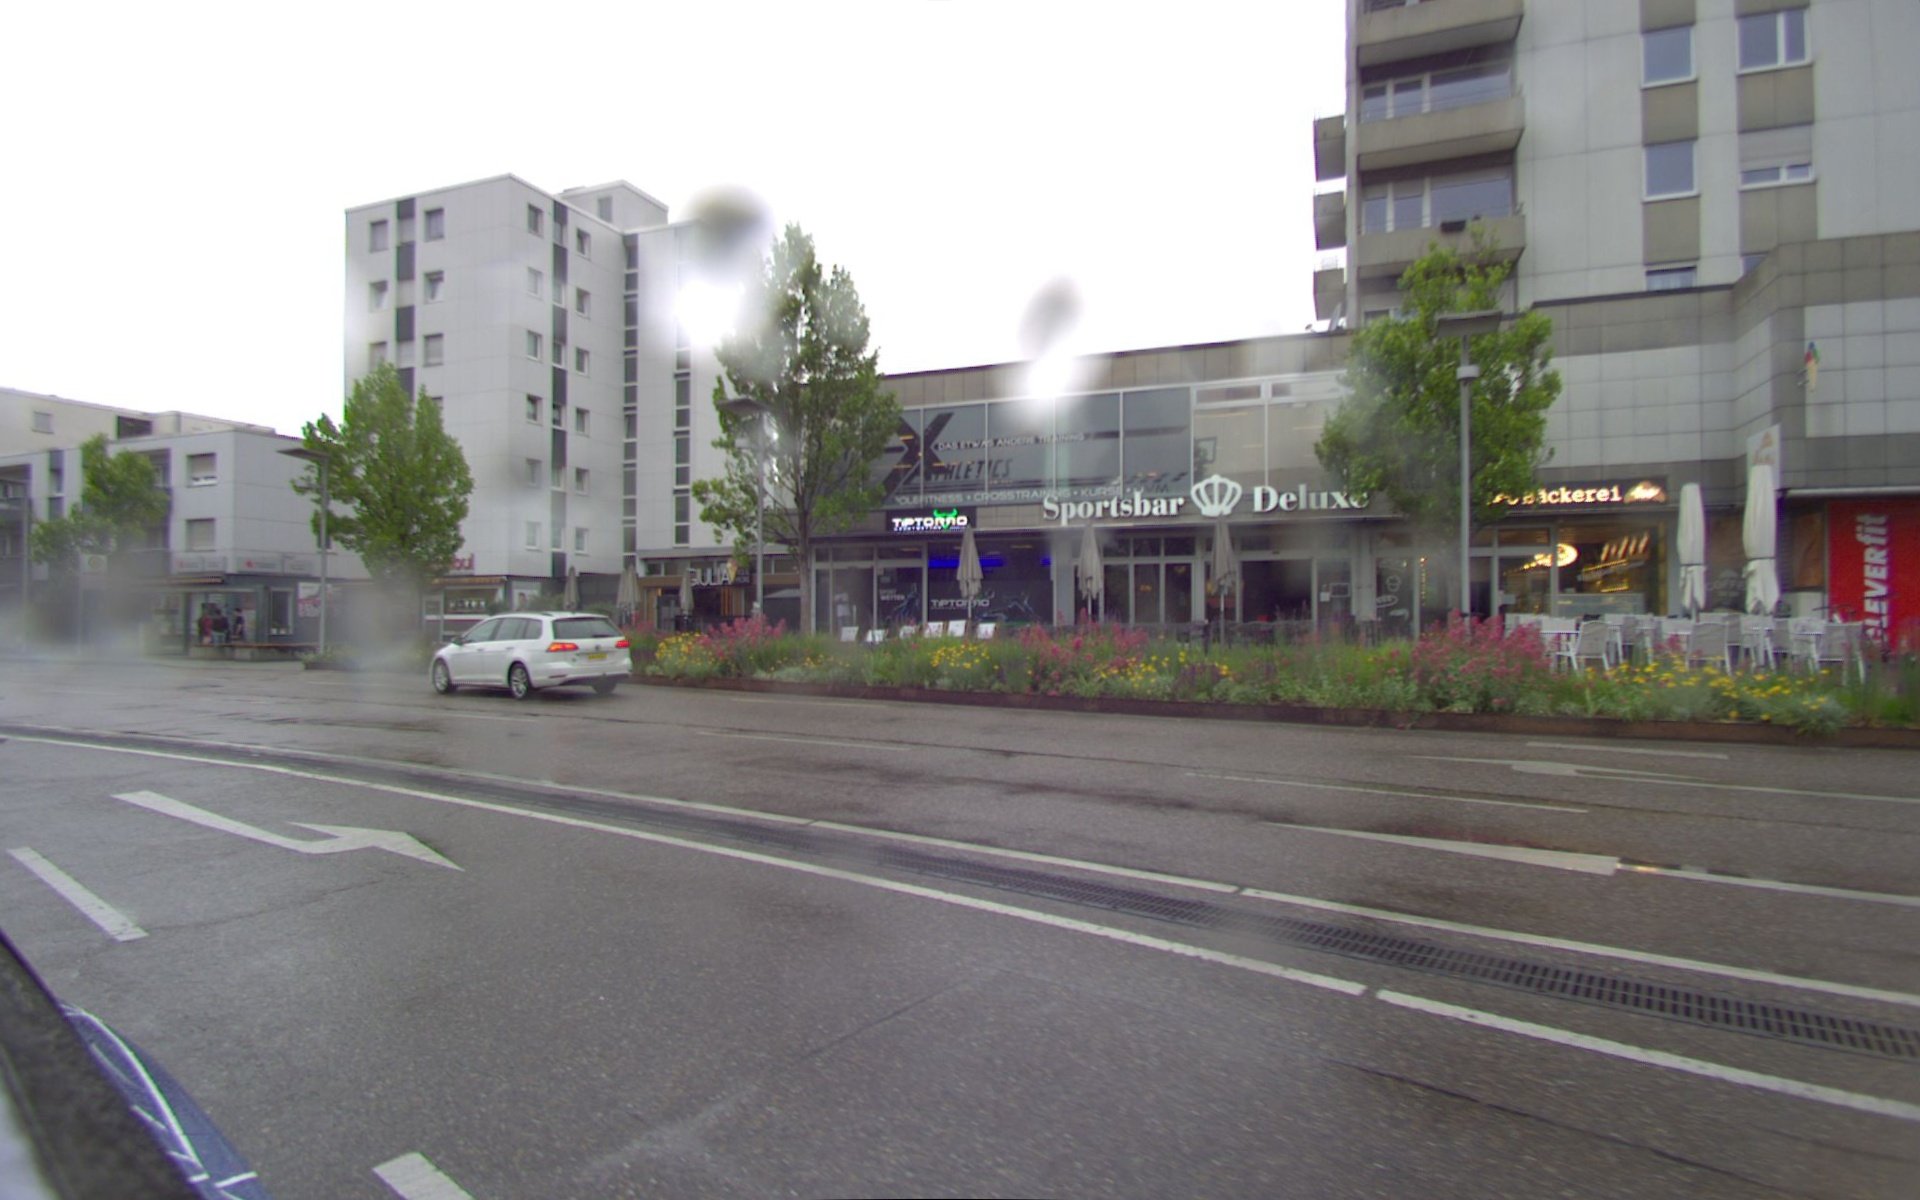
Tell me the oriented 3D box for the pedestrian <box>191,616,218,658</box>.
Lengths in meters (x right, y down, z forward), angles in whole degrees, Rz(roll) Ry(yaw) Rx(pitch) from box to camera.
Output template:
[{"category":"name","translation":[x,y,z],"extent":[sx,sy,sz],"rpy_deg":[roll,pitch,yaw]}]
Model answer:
[{"category":"pedestrian","translation":[-27.580,1.338,36.955],"extent":[0.606,1.516,0.537],"rpy_deg":[-1,-1,-2]}]

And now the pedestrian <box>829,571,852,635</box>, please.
[{"category":"pedestrian","translation":[-3.512,0.105,29.712],"extent":[0.499,1.862,0.422],"rpy_deg":[-1,-1,32]}]

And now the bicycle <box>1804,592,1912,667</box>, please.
[{"category":"bicycle","translation":[15.938,0.499,18.040],"extent":[0.692,1.232,2.532],"rpy_deg":[-1,-1,24]}]

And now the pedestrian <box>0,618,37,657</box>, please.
[{"category":"pedestrian","translation":[-41.157,1.612,44.209],"extent":[0.721,1.658,1.003],"rpy_deg":[-1,-1,21]}]

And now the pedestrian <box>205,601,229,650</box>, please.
[{"category":"pedestrian","translation":[-25.822,0.877,35.161],"extent":[0.533,1.672,0.476],"rpy_deg":[-1,-1,23]}]

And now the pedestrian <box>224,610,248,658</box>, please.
[{"category":"pedestrian","translation":[-25.564,1.209,35.735],"extent":[0.477,1.672,0.532],"rpy_deg":[-1,-1,27]}]

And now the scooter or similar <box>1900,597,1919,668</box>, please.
[{"category":"scooter or similar","translation":[16.046,0.538,16.169],"extent":[0.639,1.183,2.572],"rpy_deg":[-1,-1,23]}]

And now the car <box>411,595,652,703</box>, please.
[{"category":"car","translation":[-7.638,0.796,17.886],"extent":[4.495,1.695,1.869],"rpy_deg":[-1,-1,35]}]
